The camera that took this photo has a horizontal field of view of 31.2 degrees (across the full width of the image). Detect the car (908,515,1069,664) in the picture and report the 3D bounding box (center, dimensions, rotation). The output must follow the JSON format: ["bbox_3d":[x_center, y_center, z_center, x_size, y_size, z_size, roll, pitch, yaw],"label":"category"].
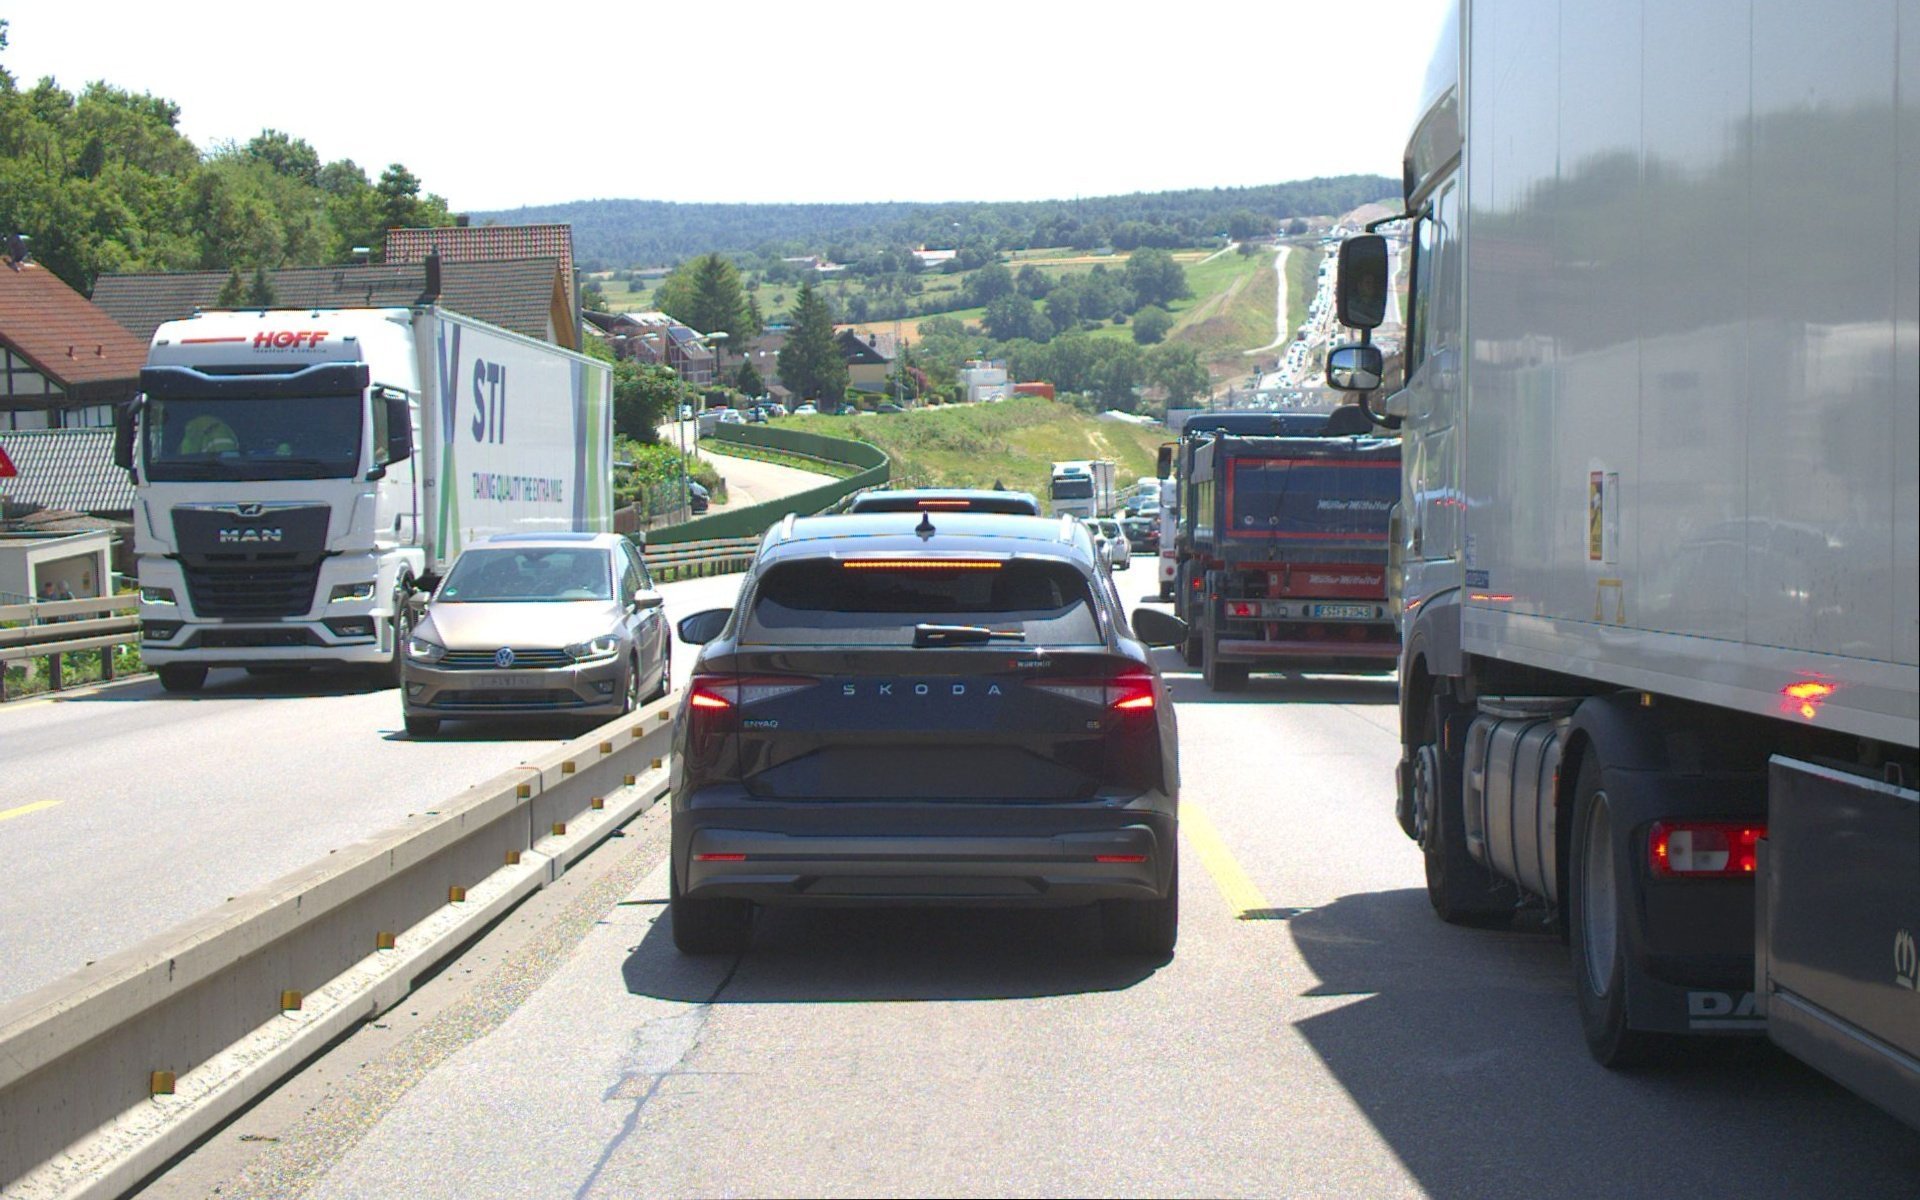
[{"bbox_3d":[0.299,-0.170,41.155,1.706,1.616,4.001,1,2,-2],"label":"car"}]

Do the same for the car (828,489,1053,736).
[{"bbox_3d":[-0.228,0.033,28.744,1.706,1.875,4.001,1,2,-2],"label":"car"}]

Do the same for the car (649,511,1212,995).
[{"bbox_3d":[-0.174,0.490,13.360,1.842,1.581,3.908,1,1,-2],"label":"car"}]

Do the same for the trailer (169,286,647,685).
[{"bbox_3d":[-6.759,-1.339,45.066,3.252,4.363,14.057,1,1,3],"label":"trailer"}]

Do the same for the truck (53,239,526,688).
[{"bbox_3d":[-7.096,-1.376,37.838,3.303,4.347,8.301,1,1,2],"label":"truck"}]

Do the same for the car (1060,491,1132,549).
[{"bbox_3d":[3.916,-2.283,98.867,1.994,1.579,3.836,1,1,2],"label":"car"}]

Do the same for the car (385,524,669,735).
[{"bbox_3d":[-3.410,0.201,27.753,1.845,1.568,4.000,0,1,-1],"label":"car"}]

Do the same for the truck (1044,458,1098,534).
[{"bbox_3d":[6.382,-5.947,197.287,2.752,4.268,4.956,1,2,5],"label":"truck"}]

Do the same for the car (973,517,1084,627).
[{"bbox_3d":[1.106,-0.484,55.432,1.707,1.616,4.000,1,2,1],"label":"car"}]

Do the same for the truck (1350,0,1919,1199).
[{"bbox_3d":[2.983,-0.738,10.552,2.513,4.011,8.238,1,1,0],"label":"truck"}]

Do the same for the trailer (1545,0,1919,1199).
[{"bbox_3d":[3.042,-0.799,4.224,2.532,4.113,11.548,1,1,0],"label":"trailer"}]

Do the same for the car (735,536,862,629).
[{"bbox_3d":[-2.607,-0.295,56.442,1.790,1.448,4.635,-1,1,1],"label":"car"}]

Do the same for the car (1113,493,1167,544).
[{"bbox_3d":[6.392,-2.880,121.943,1.701,1.722,3.835,1,1,6],"label":"car"}]

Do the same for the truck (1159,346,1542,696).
[{"bbox_3d":[3.946,-0.791,37.898,3.195,3.180,12.808,1,1,2],"label":"truck"}]

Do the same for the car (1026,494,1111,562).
[{"bbox_3d":[2.664,-1.745,83.766,1.994,1.579,3.836,1,1,2],"label":"car"}]
